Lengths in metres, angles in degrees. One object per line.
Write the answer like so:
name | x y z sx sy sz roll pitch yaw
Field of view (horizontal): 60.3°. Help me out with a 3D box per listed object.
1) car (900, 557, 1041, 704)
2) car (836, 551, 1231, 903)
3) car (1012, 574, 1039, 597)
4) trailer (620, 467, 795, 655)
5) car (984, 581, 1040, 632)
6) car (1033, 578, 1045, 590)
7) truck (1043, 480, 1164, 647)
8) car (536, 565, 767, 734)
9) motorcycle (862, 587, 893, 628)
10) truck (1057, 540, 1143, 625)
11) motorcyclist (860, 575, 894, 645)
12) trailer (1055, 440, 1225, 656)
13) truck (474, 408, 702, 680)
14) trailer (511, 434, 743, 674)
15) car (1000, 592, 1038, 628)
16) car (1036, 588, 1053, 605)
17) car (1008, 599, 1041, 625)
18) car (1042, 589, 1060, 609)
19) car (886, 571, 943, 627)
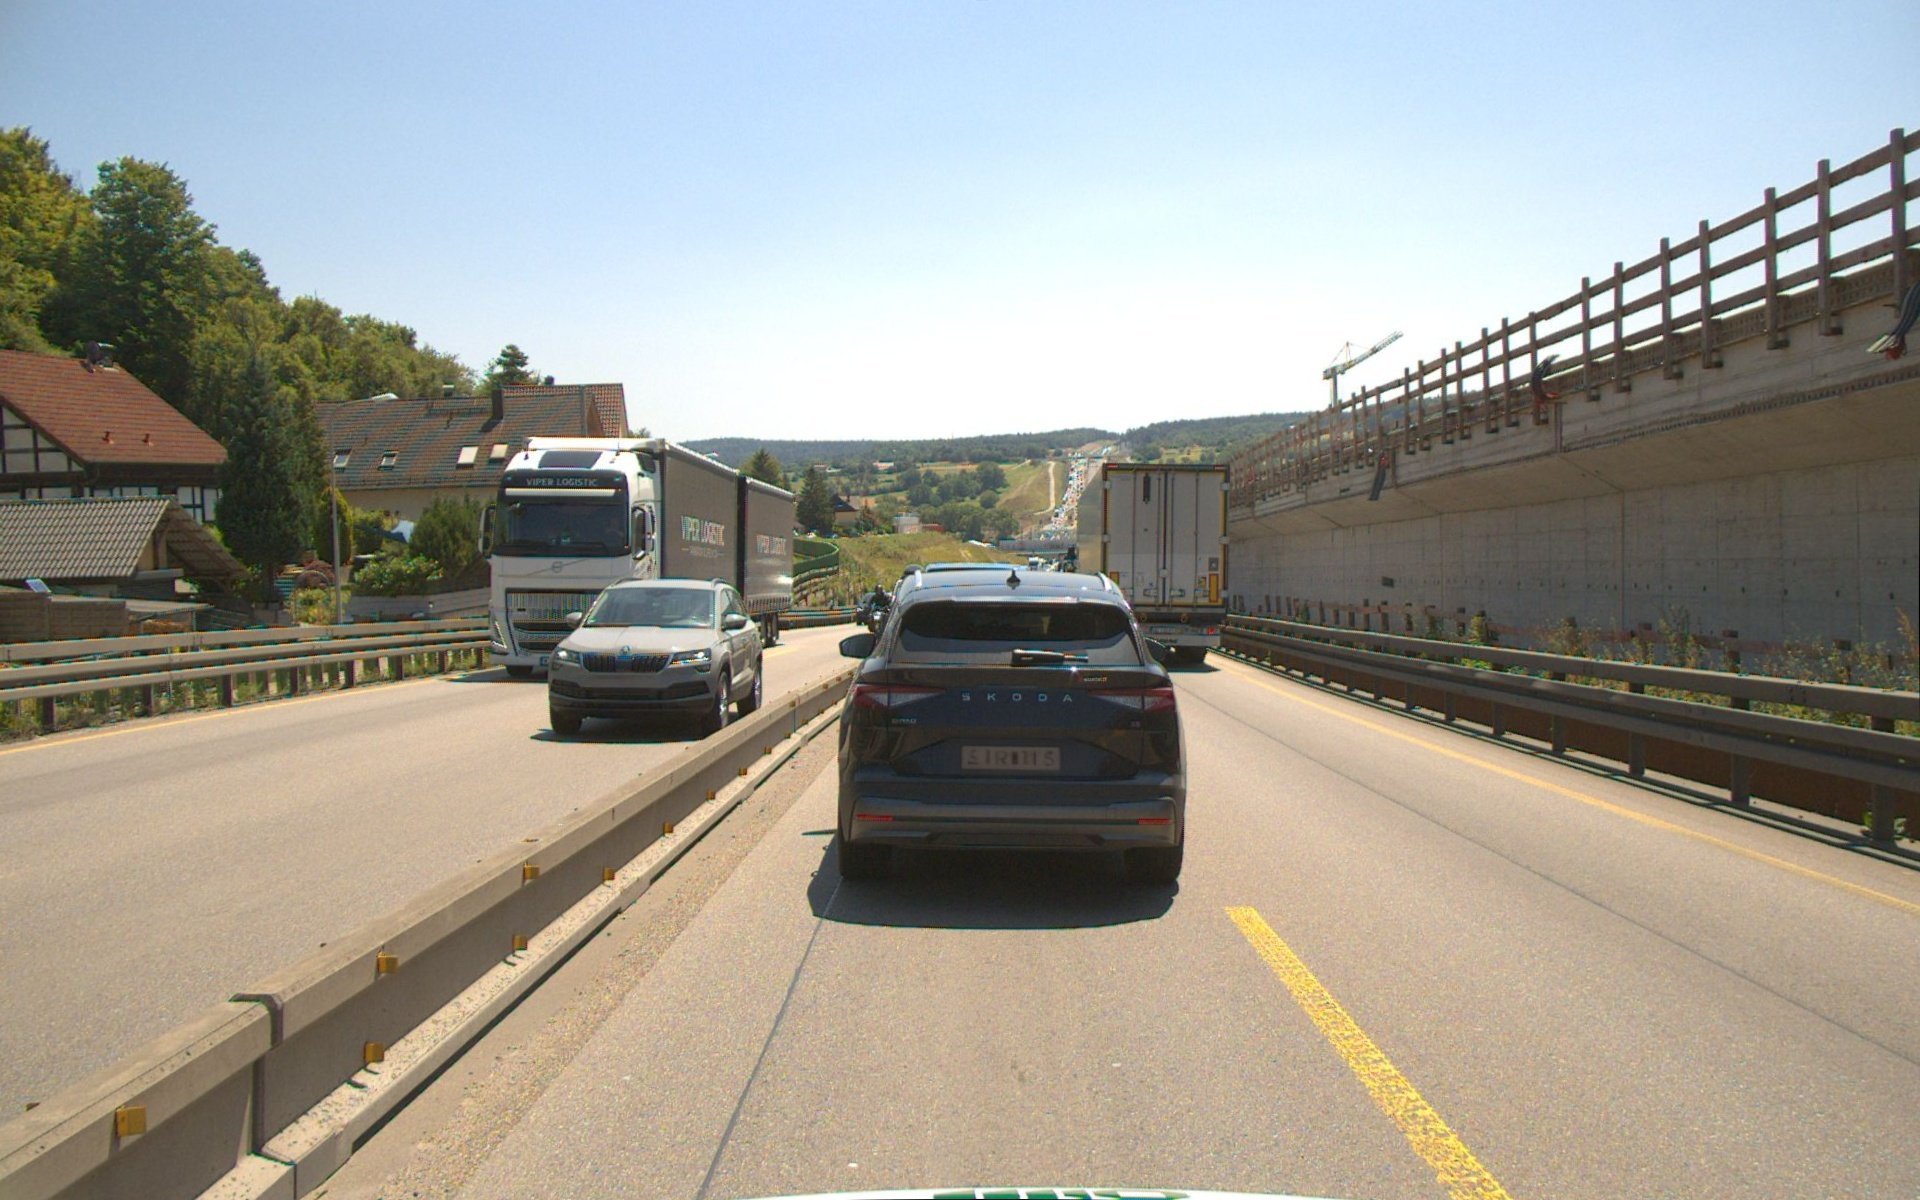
car | 0.072 0.376 23.831 1.673 1.914 3.996 1 1 -5
car | 0.207 0.617 9.619 1.806 1.614 3.903 1 -1 -5
car | 5.038 -1.097 127.681 1.953 1.613 3.836 1 -1 0
trailer | -6.061 -0.941 41.176 2.700 4.141 8.637 1 1 2
car | 1.741 0.188 56.320 1.672 1.650 3.999 1 1 -1
car | 12.331 -2.527 257.847 1.665 1.758 3.838 1 -1 4
truck | 3.769 -0.856 45.184 2.462 4.095 8.236 1 -1 -1
car | -3.268 0.509 18.307 1.821 1.639 4.068 1 -1 -1
motorcycle | -2.275 0.191 45.771 0.770 1.098 1.912 1 0 0
truck | 5.774 -0.612 70.175 3.128 3.247 12.812 0 -1 2
motorcyclist | -2.283 0.271 45.601 0.836 1.887 0.983 1 0 0
trailer | 3.876 -0.957 38.296 2.480 4.199 11.545 1 -1 -1
truck | -6.410 -0.925 29.256 2.695 4.358 4.958 1 0 2
trailer | -6.335 -0.873 32.853 2.700 4.141 8.010 1 1 2
car | 2.964 0.484 83.337 1.672 1.650 3.999 1 1 -1
car | 8.862 -0.337 172.909 1.665 1.758 3.838 1 -1 4
car | 4.176 0.812 107.255 1.953 1.613 3.836 1 -1 0
car | 8.362 -0.044 151.574 1.665 1.758 3.838 1 -1 4
car | -1.664 -0.004 62.064 1.981 1.995 4.898 1 -1 0
